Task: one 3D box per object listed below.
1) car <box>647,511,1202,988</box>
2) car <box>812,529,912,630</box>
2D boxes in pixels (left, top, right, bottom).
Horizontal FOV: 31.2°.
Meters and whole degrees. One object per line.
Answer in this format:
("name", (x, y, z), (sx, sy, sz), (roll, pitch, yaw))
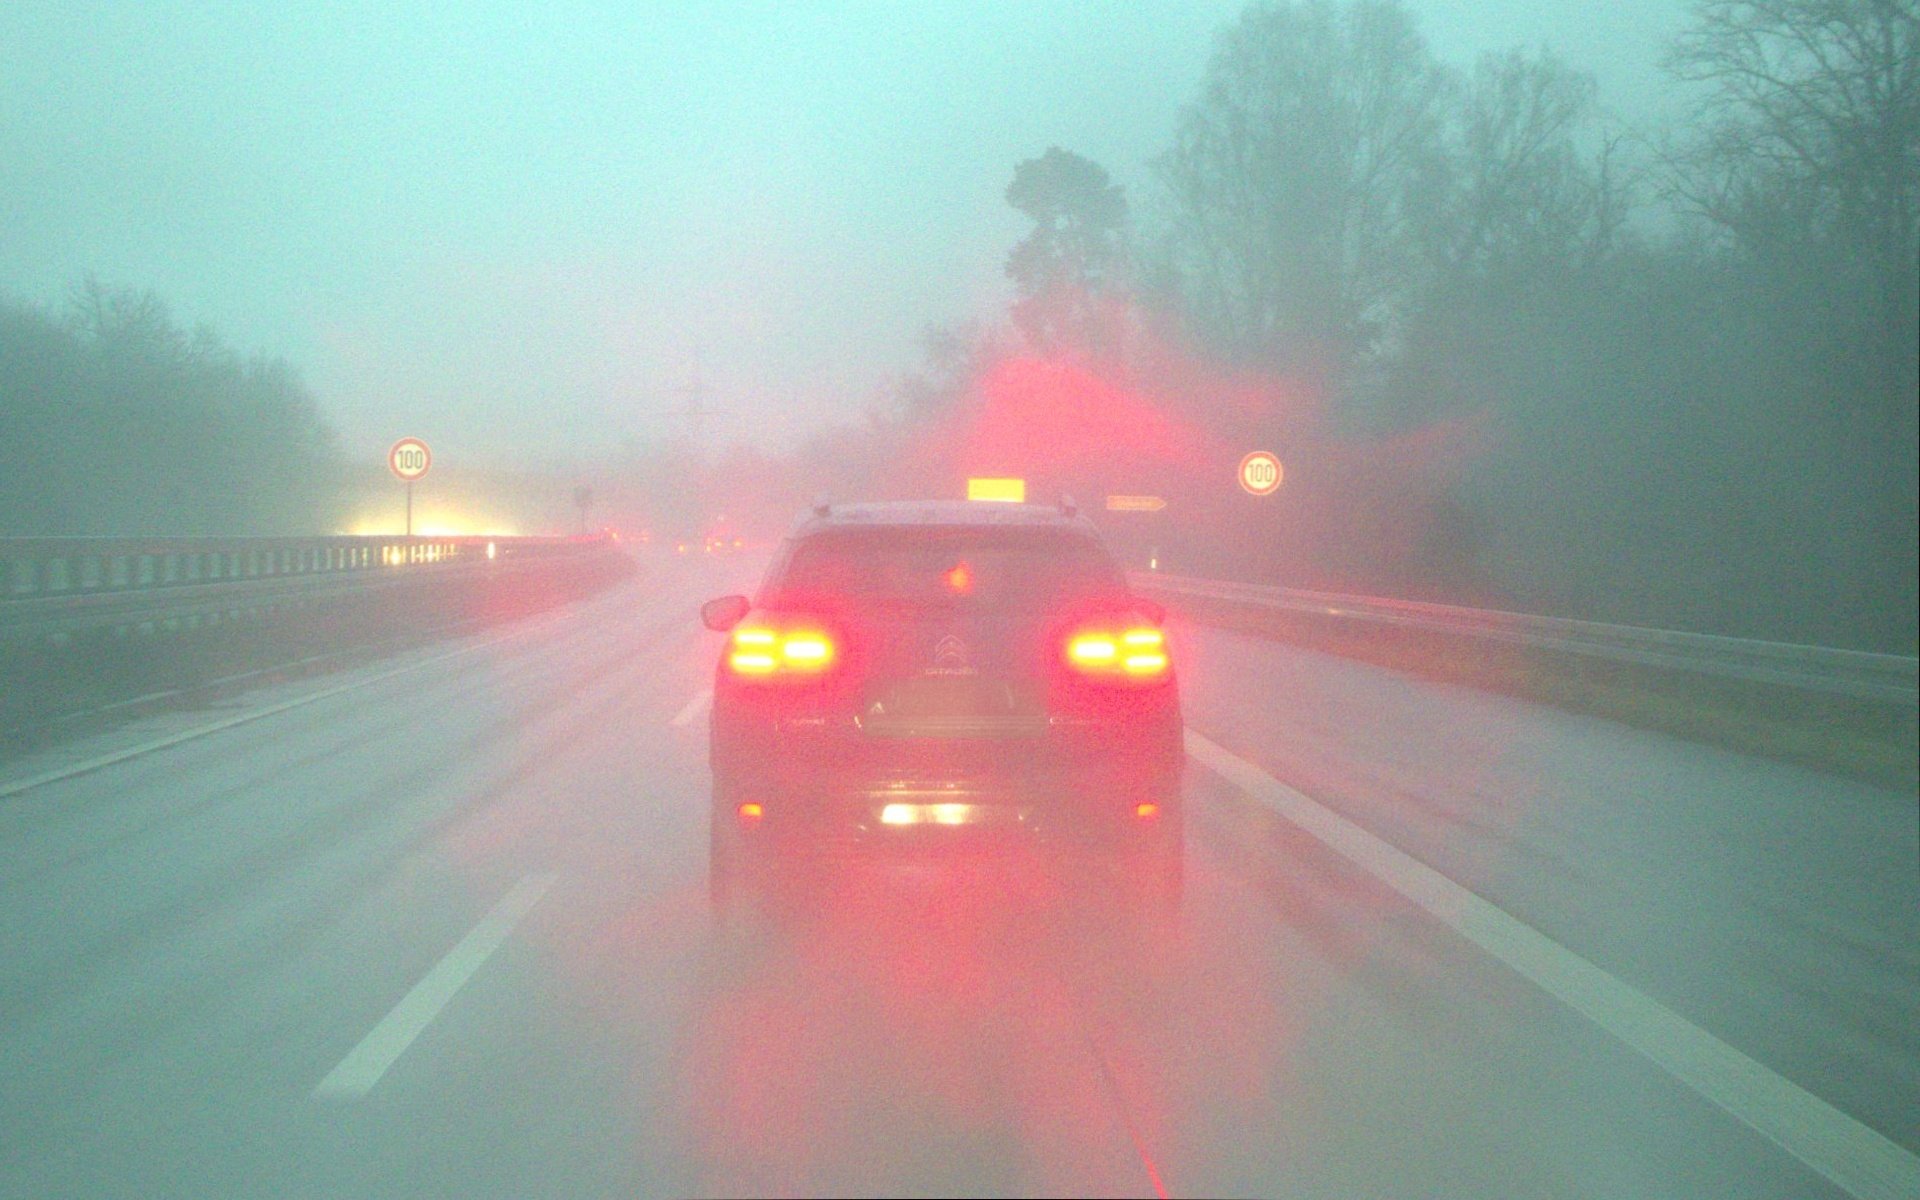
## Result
("car", (-0.204, 0.513, 14.357), (1.992, 1.709, 3.830), (1, 1, -2))
("car", (-2.069, -0.447, 71.380), (1.993, 2.007, 4.001), (1, 1, -3))
